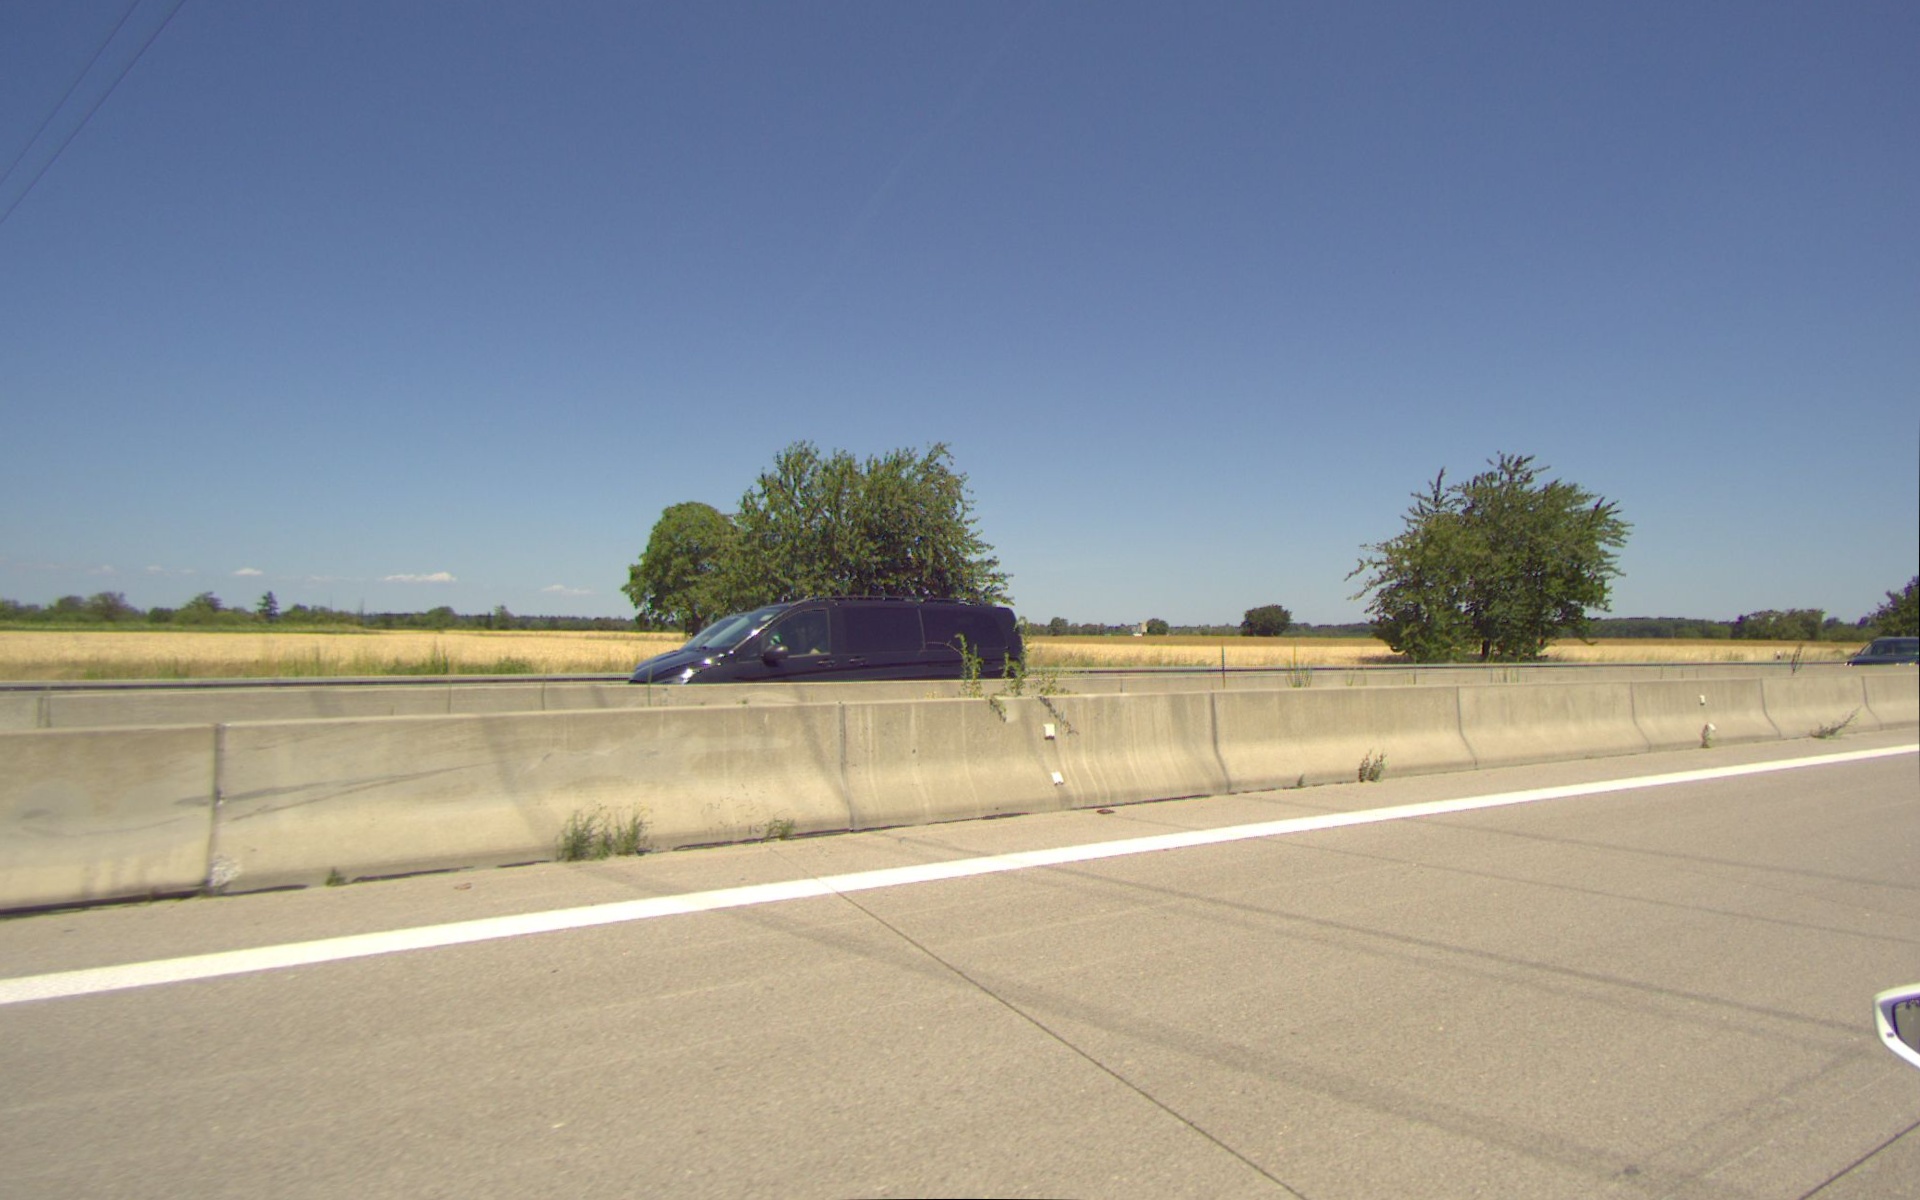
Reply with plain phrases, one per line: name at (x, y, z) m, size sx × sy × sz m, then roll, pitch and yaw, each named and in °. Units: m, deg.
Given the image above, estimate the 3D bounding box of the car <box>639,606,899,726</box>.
car at (-3.306, 1.077, 17.408) m, size 3.952 × 1.814 × 2.160 m, roll 2°, pitch 0°, yaw -30°

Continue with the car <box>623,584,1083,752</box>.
car at (-1.298, 0.814, 13.336) m, size 5.754 × 1.850 × 1.985 m, roll 2°, pitch 0°, yaw -29°

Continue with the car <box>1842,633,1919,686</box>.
car at (29.601, 1.827, 31.225) m, size 4.629 × 1.467 × 1.983 m, roll 2°, pitch 0°, yaw -31°
